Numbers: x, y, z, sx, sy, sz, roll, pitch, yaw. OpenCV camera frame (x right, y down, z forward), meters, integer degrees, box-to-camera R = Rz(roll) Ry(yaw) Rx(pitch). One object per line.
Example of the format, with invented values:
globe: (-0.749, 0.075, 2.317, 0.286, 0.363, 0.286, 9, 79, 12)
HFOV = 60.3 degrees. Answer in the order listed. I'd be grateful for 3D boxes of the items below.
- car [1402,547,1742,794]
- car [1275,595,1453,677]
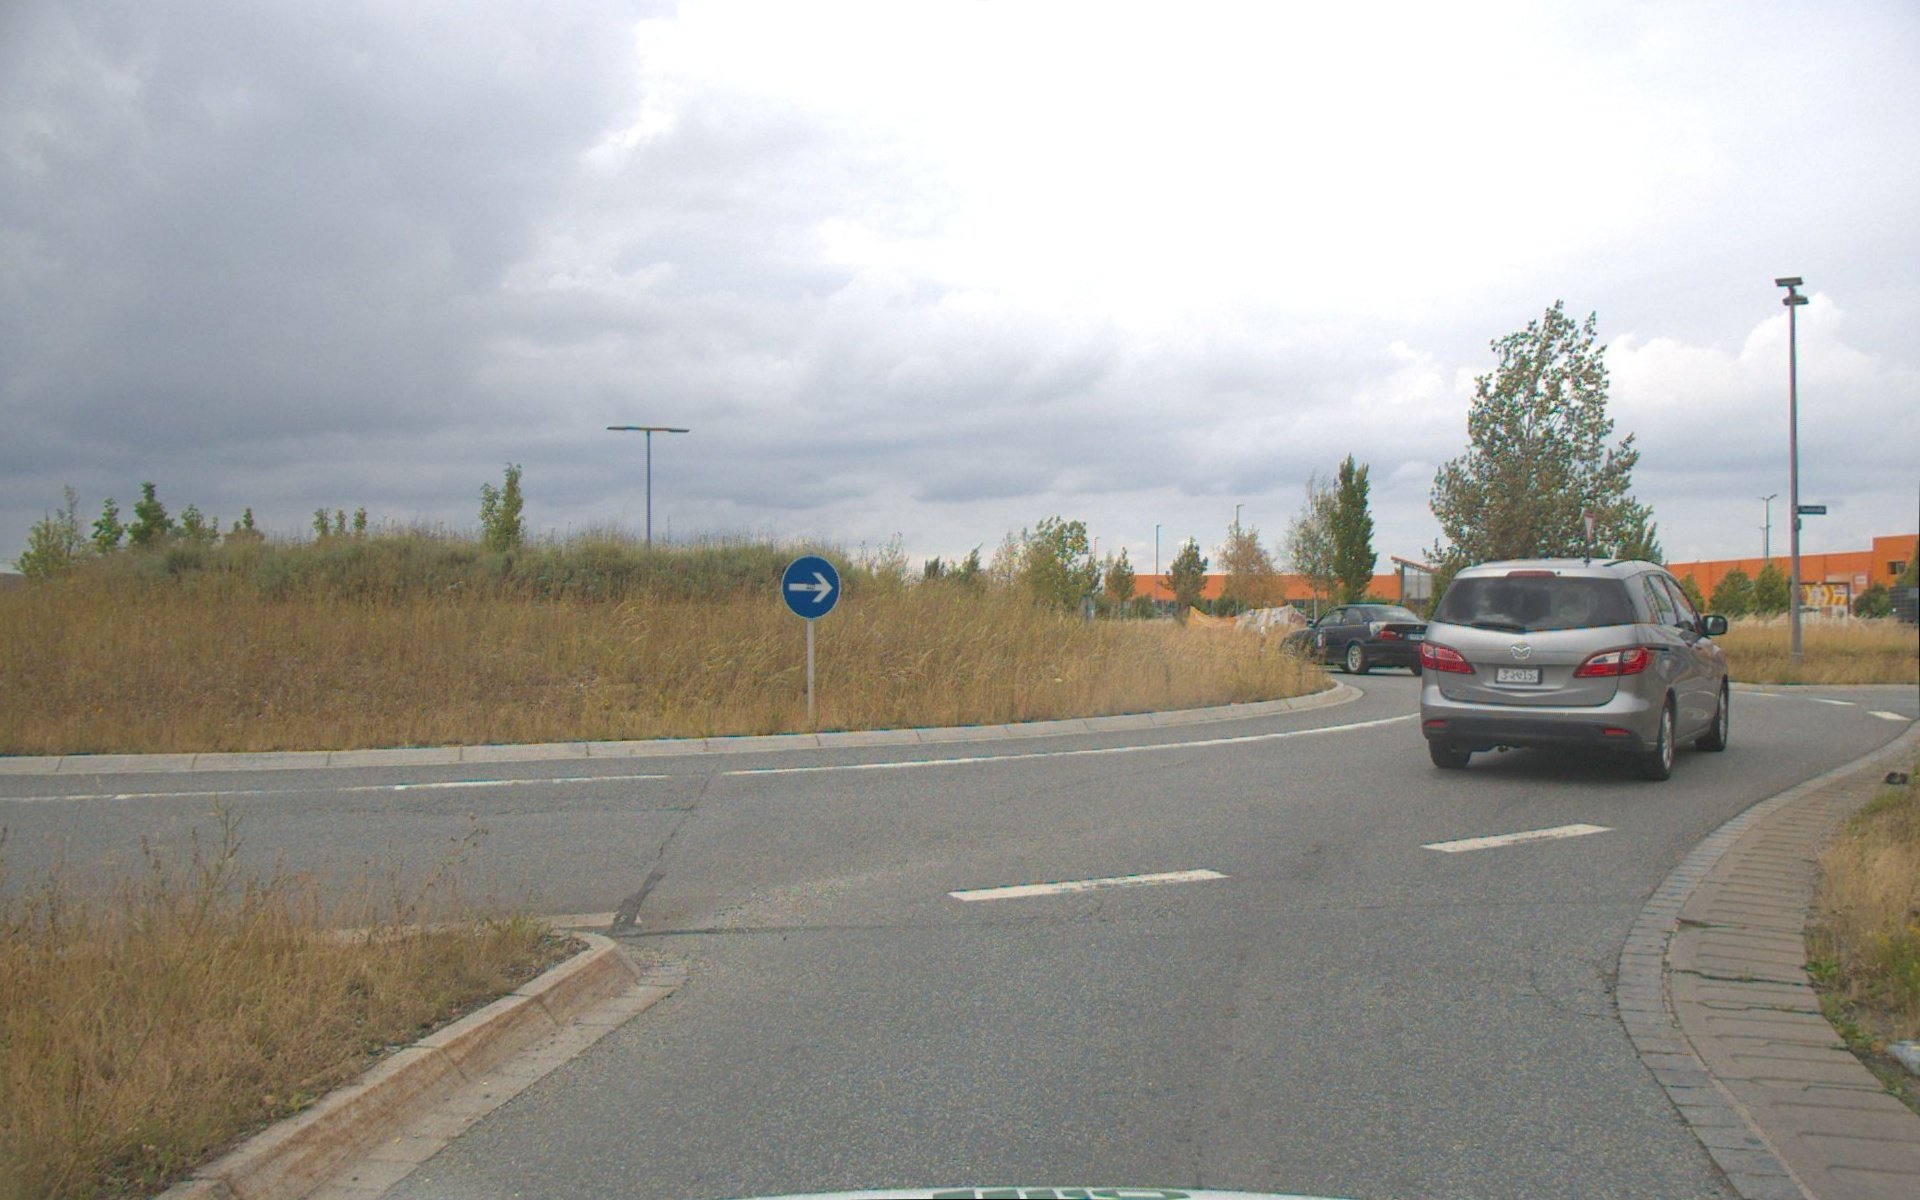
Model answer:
car: (5.039, 0.410, 13.296, 1.707, 1.626, 3.987, 2, 3, 33)
car: (7.926, 0.662, 32.826, 1.710, 1.428, 3.981, 0, 1, -16)
